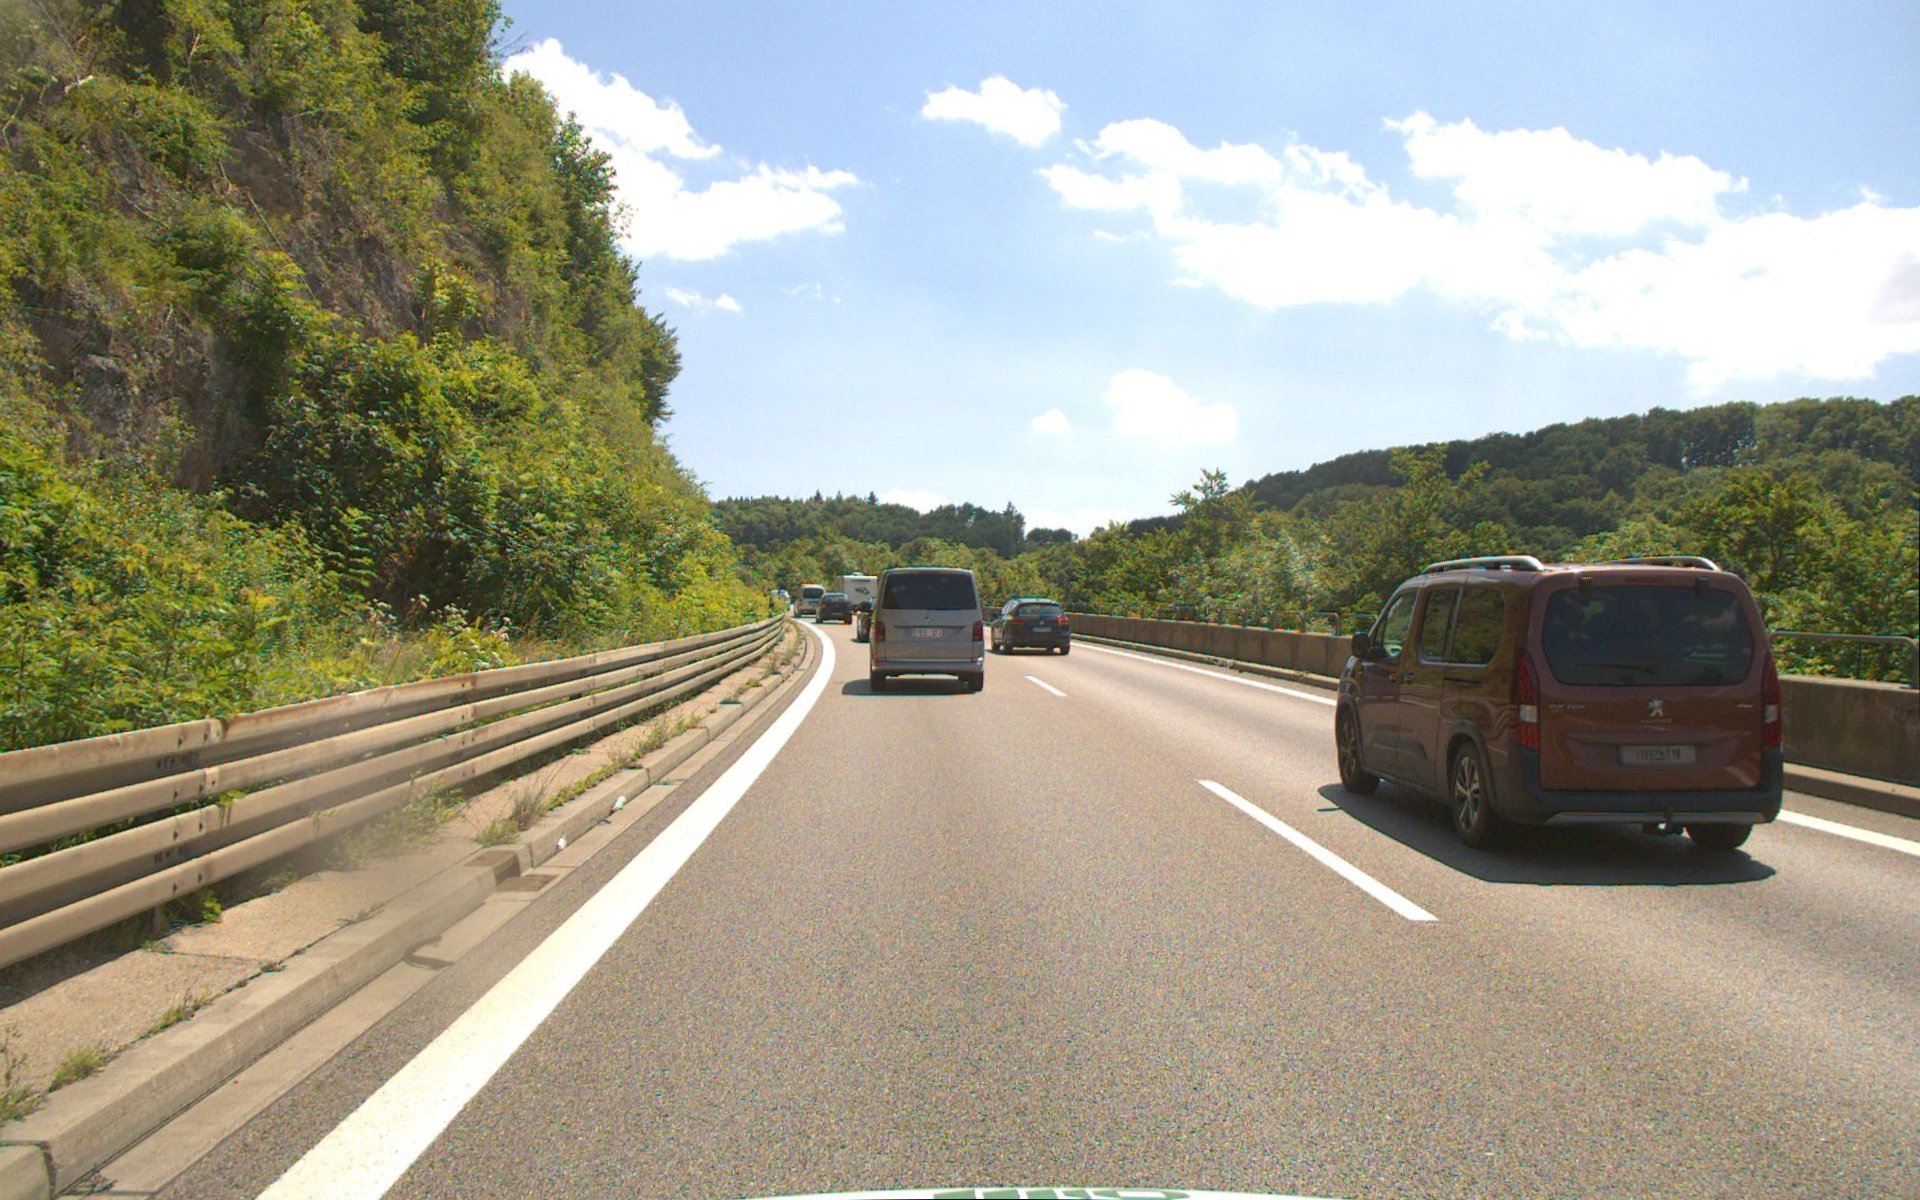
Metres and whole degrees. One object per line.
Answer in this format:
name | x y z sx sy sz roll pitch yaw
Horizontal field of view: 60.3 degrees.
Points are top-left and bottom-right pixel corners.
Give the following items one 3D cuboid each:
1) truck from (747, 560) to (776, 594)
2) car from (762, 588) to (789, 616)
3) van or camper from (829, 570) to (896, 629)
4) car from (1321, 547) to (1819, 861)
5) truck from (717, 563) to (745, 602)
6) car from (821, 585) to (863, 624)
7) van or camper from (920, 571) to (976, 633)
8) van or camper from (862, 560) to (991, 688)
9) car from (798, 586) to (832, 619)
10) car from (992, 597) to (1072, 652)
truck | -26.668 -3.028 221.734 3.233 4.407 7.707 0 -1 -11
car | -13.531 0.120 121.184 1.955 1.948 3.994 1 0 -7
van or camper | -6.719 -0.021 112.768 3.220 3.855 8.084 0 0 -13
car | 4.066 0.624 11.958 1.796 1.815 4.674 0 -1 -1
truck | -27.399 -2.049 197.713 3.231 4.599 7.712 0 -1 -9
car | -5.740 0.196 80.438 1.955 1.849 3.996 0 0 -5
van or camper | -0.574 0.103 72.066 2.219 2.596 4.733 0 0 -3
van or camper | -0.644 0.381 28.011 1.839 1.983 4.288 0 0 -6
car | -8.491 0.131 96.810 1.955 1.849 3.996 0 0 -5
car | 1.916 0.637 44.936 1.734 1.400 3.589 0 0 -5
